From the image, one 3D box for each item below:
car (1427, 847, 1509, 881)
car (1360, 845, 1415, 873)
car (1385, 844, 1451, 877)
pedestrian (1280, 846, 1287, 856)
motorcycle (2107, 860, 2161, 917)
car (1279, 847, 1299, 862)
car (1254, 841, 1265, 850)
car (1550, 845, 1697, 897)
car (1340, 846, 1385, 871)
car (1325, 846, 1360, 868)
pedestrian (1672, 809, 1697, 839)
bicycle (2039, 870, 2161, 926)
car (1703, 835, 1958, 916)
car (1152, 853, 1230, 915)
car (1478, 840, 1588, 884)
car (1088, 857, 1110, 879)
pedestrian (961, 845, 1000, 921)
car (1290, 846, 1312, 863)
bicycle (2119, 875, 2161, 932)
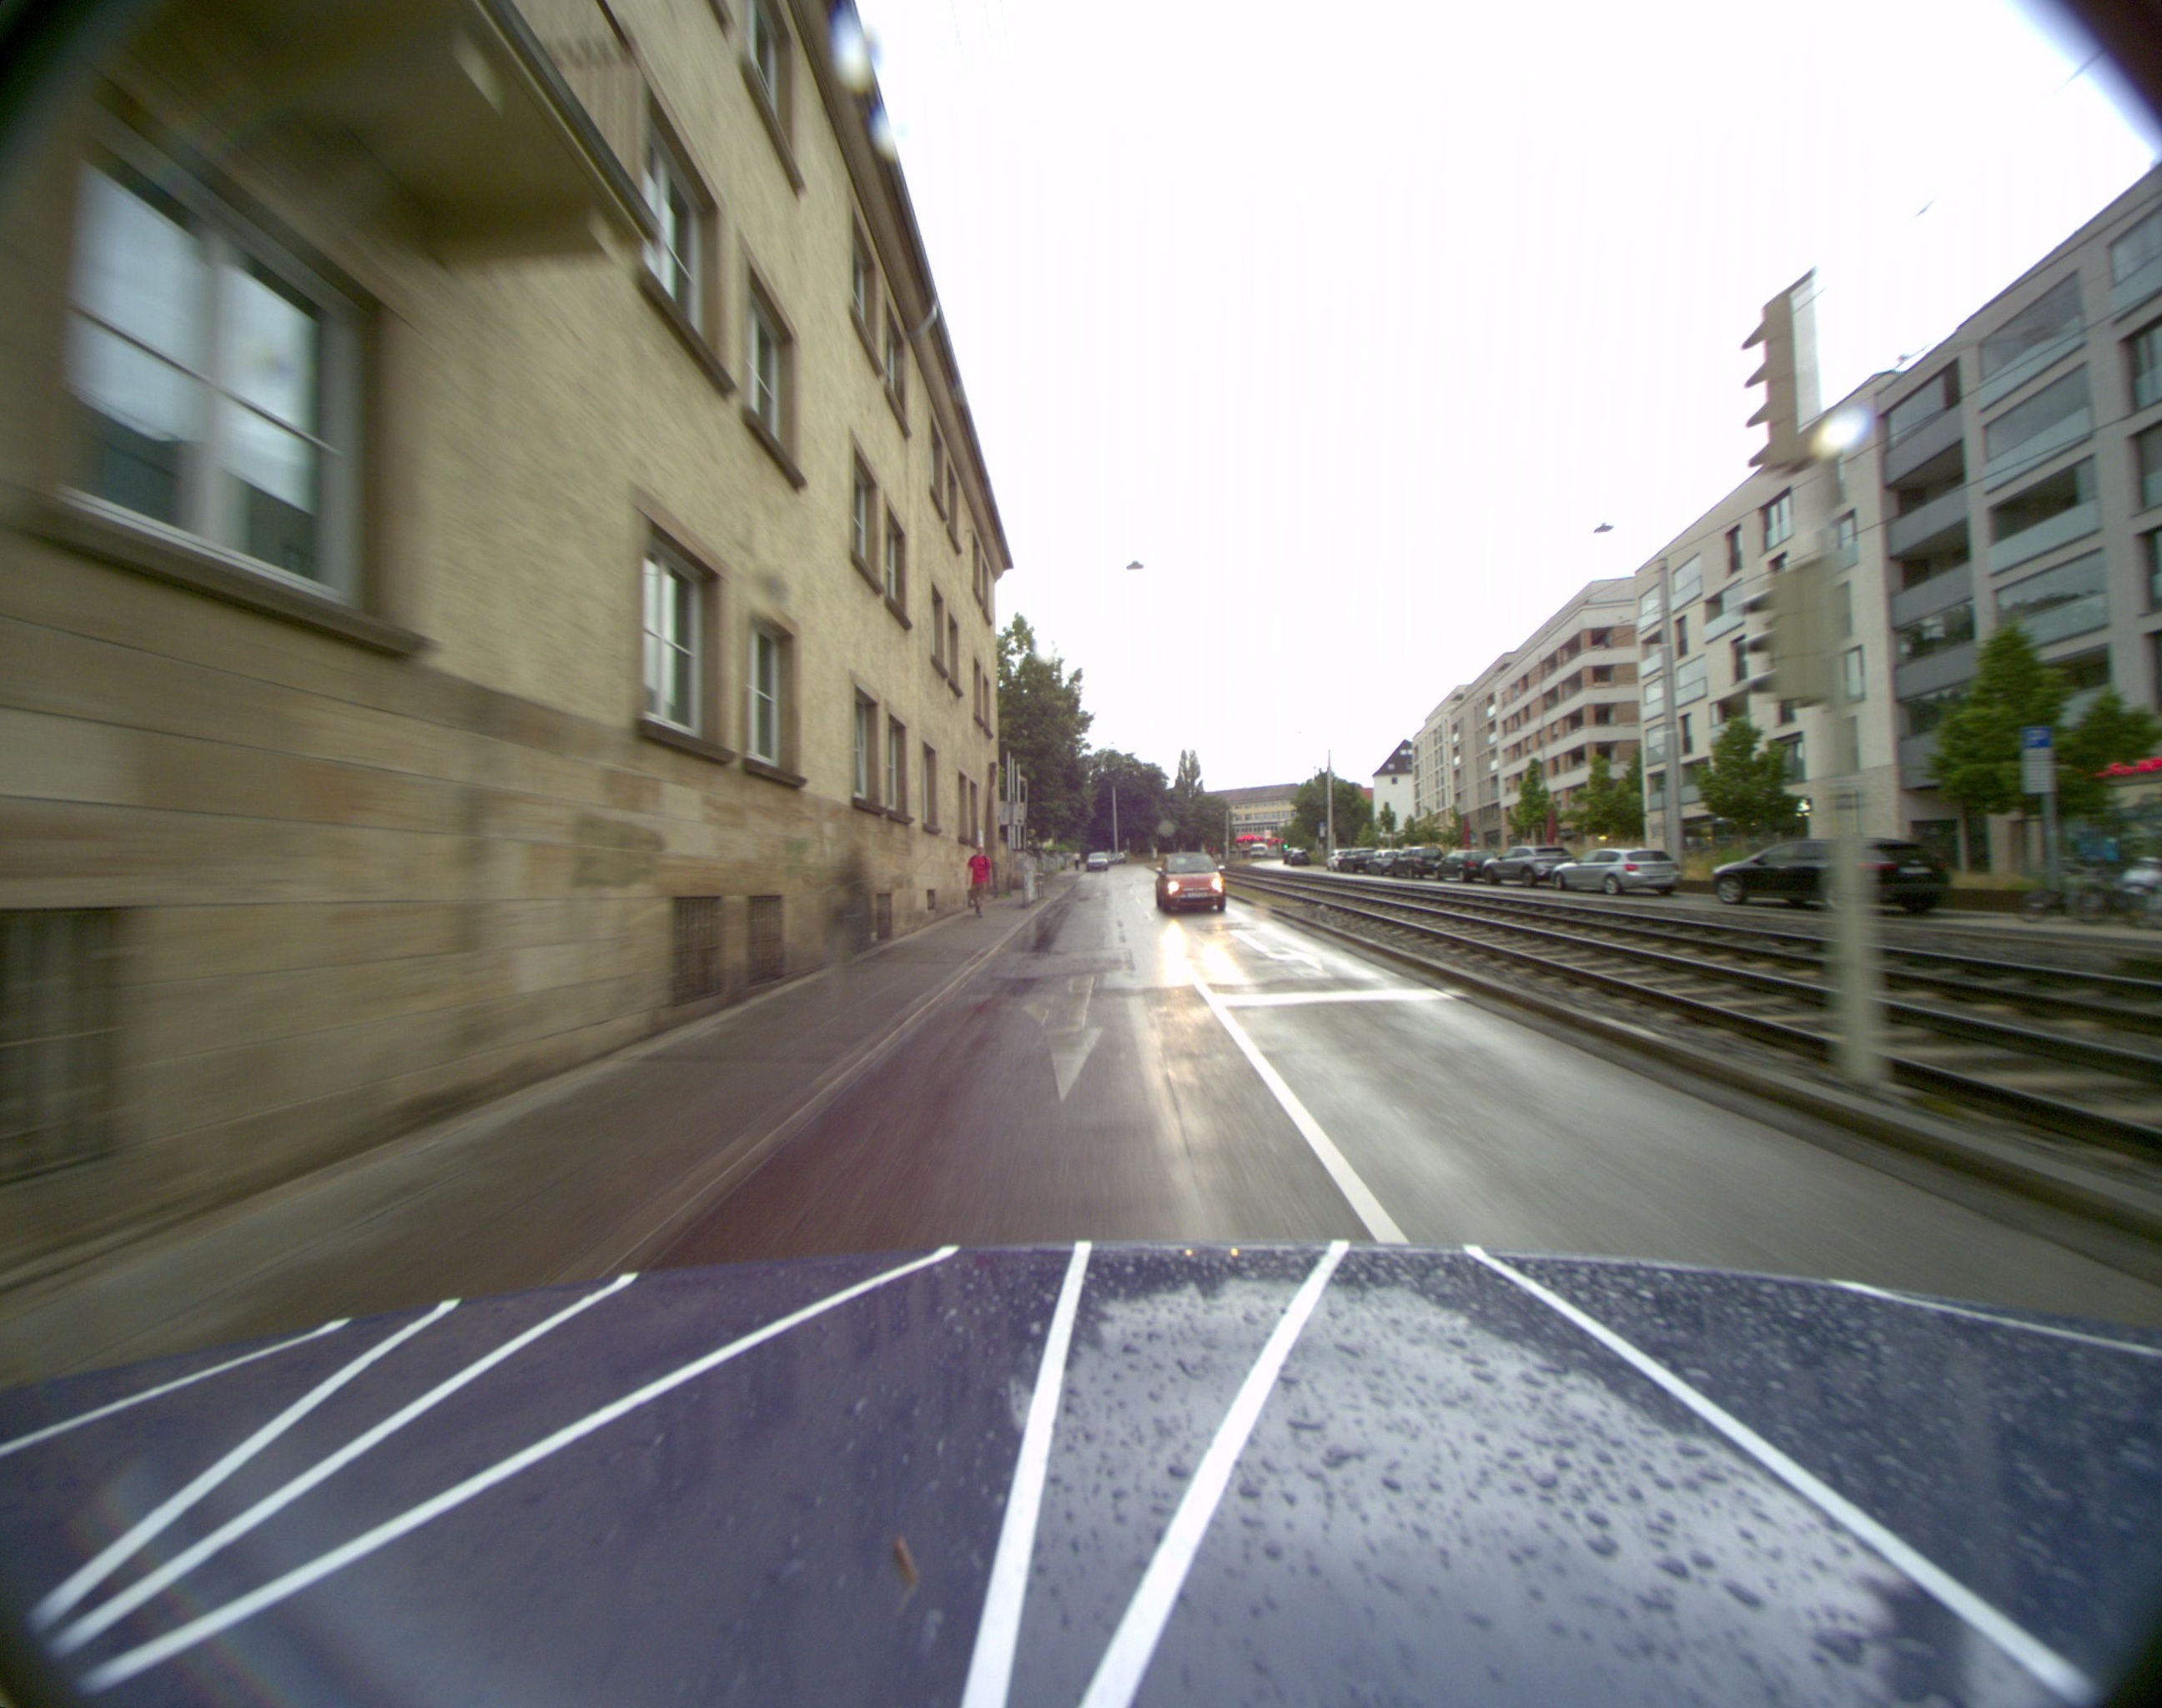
[{"bbox_3d":[17.209,0.420,34.016,1.684,1.372,4.033,-2,0,2],"label":"car"},{"bbox_3d":[17.801,0.245,44.302,1.684,1.496,3.929,-2,0,2],"label":"car"},{"bbox_3d":[17.223,0.322,39.011,1.684,1.554,3.929,-2,0,2],"label":"car"},{"bbox_3d":[35.187,-0.516,132.029,0.816,1.754,0.751,2,0,42],"label":"pedestrian"},{"bbox_3d":[20.652,0.635,14.359,1.763,1.037,0.543,0,2,-1],"label":"motorcycle"},{"bbox_3d":[22.200,0.015,81.211,1.653,1.455,3.673,-3,0,11],"label":"car"},{"bbox_3d":[35.951,-1.748,152.893,1.666,1.597,3.812,-3,0,17],"label":"car"},{"bbox_3d":[17.154,0.478,24.310,1.684,1.456,4.330,-2,0,2],"label":"car"},{"bbox_3d":[18.033,0.264,48.920,1.683,1.496,4.407,-2,0,7],"label":"car"},{"bbox_3d":[18.540,0.194,53.989,1.649,1.496,3.782,-2,0,8],"label":"car"},{"bbox_3d":[30.170,-1.484,37.974,0.657,1.441,0.803,-3,1,15],"label":"pedestrian"},{"bbox_3d":[18.156,0.780,13.515,1.788,0.912,0.387,-2,1,-2],"label":"bicycle"},{"bbox_3d":[16.952,0.425,17.552,1.684,1.594,4.330,-2,0,2],"label":"car"},{"bbox_3d":[2.906,0.743,20.732,1.593,1.455,3.670,-3,0,1],"label":"car"},{"bbox_3d":[17.315,0.277,29.340,1.684,1.521,4.048,-2,0,-3],"label":"car"},{"bbox_3d":[1.522,1.178,65.493,1.726,1.676,3.866,-3,0,1],"label":"car"},{"bbox_3d":[-2.422,0.687,18.380,0.748,1.754,0.818,2,1,2],"label":"pedestrian"},{"bbox_3d":[21.030,0.047,72.777,1.653,1.455,3.673,-3,0,11],"label":"car"},{"bbox_3d":[18.283,0.799,12.557,1.788,0.912,0.387,-1,1,-2],"label":"bicycle"}]
